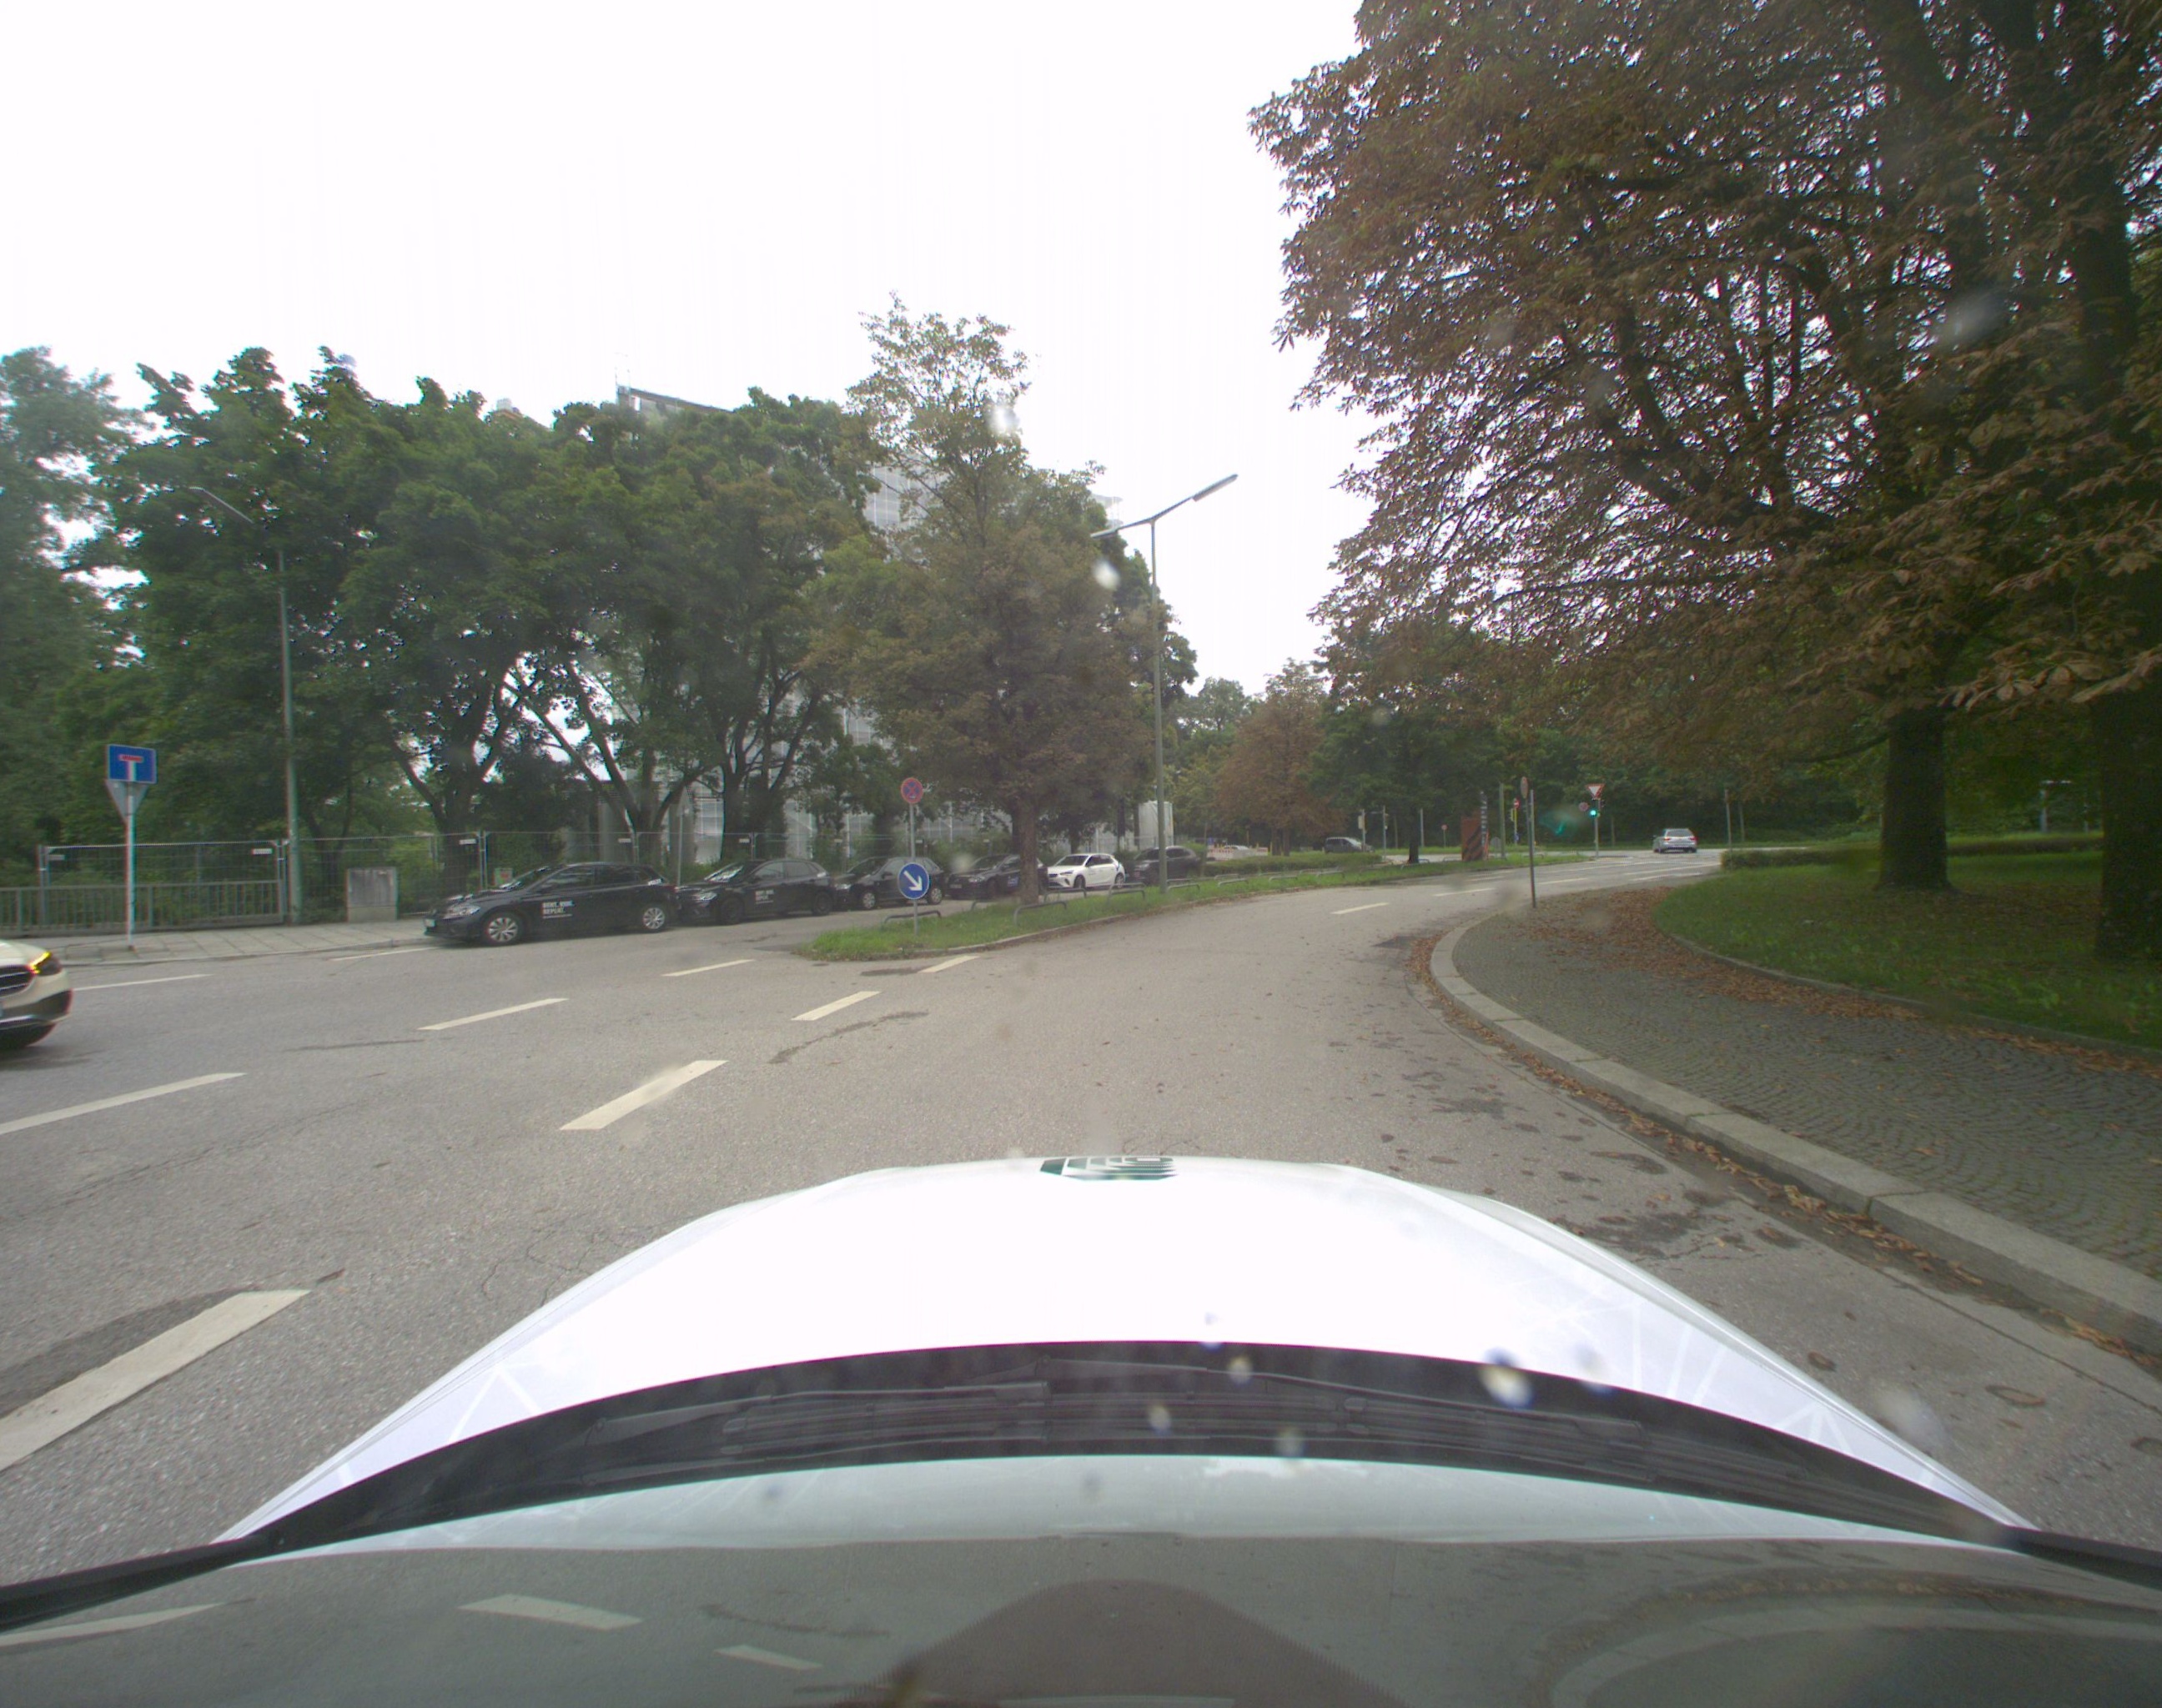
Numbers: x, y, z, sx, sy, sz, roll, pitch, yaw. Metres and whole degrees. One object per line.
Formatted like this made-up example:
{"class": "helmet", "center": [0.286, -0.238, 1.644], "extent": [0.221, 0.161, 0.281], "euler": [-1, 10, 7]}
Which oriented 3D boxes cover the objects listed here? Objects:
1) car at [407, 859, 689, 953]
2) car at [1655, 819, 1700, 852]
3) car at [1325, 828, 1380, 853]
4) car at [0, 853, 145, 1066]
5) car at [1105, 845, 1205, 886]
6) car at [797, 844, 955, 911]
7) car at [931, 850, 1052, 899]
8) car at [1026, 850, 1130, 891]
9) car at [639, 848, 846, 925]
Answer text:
{"class": "car", "center": [-10.023, 0.873, 15.616], "extent": [1.974, 1.432, 4.069], "euler": [0, 1, 34]}
{"class": "car", "center": [34.592, -1.071, 47.280], "extent": [1.974, 1.750, 4.151], "euler": [-2, 0, 36]}
{"class": "car", "center": [23.181, -1.150, 69.592], "extent": [2.009, 2.013, 3.955], "euler": [-2, 0, -37]}
{"class": "car", "center": [-10.303, 0.833, 6.029], "extent": [4.814, 1.545, 1.896], "euler": [-1, 0, 5]}
{"class": "car", "center": [3.209, 0.498, 34.660], "extent": [1.868, 1.606, 4.422], "euler": [-2, -2, 44]}
{"class": "car", "center": [-5.693, 0.600, 23.061], "extent": [1.974, 1.706, 4.026], "euler": [-2, 0, 34]}
{"class": "car", "center": [-2.892, 0.650, 27.200], "extent": [1.816, 1.461, 4.031], "euler": [-2, 0, 34]}
{"class": "car", "center": [-0.048, 0.602, 31.085], "extent": [1.778, 1.383, 4.245], "euler": [-2, 0, 36]}
{"class": "car", "center": [-7.812, 0.694, 19.147], "extent": [1.974, 1.541, 4.026], "euler": [-2, 0, 34]}
